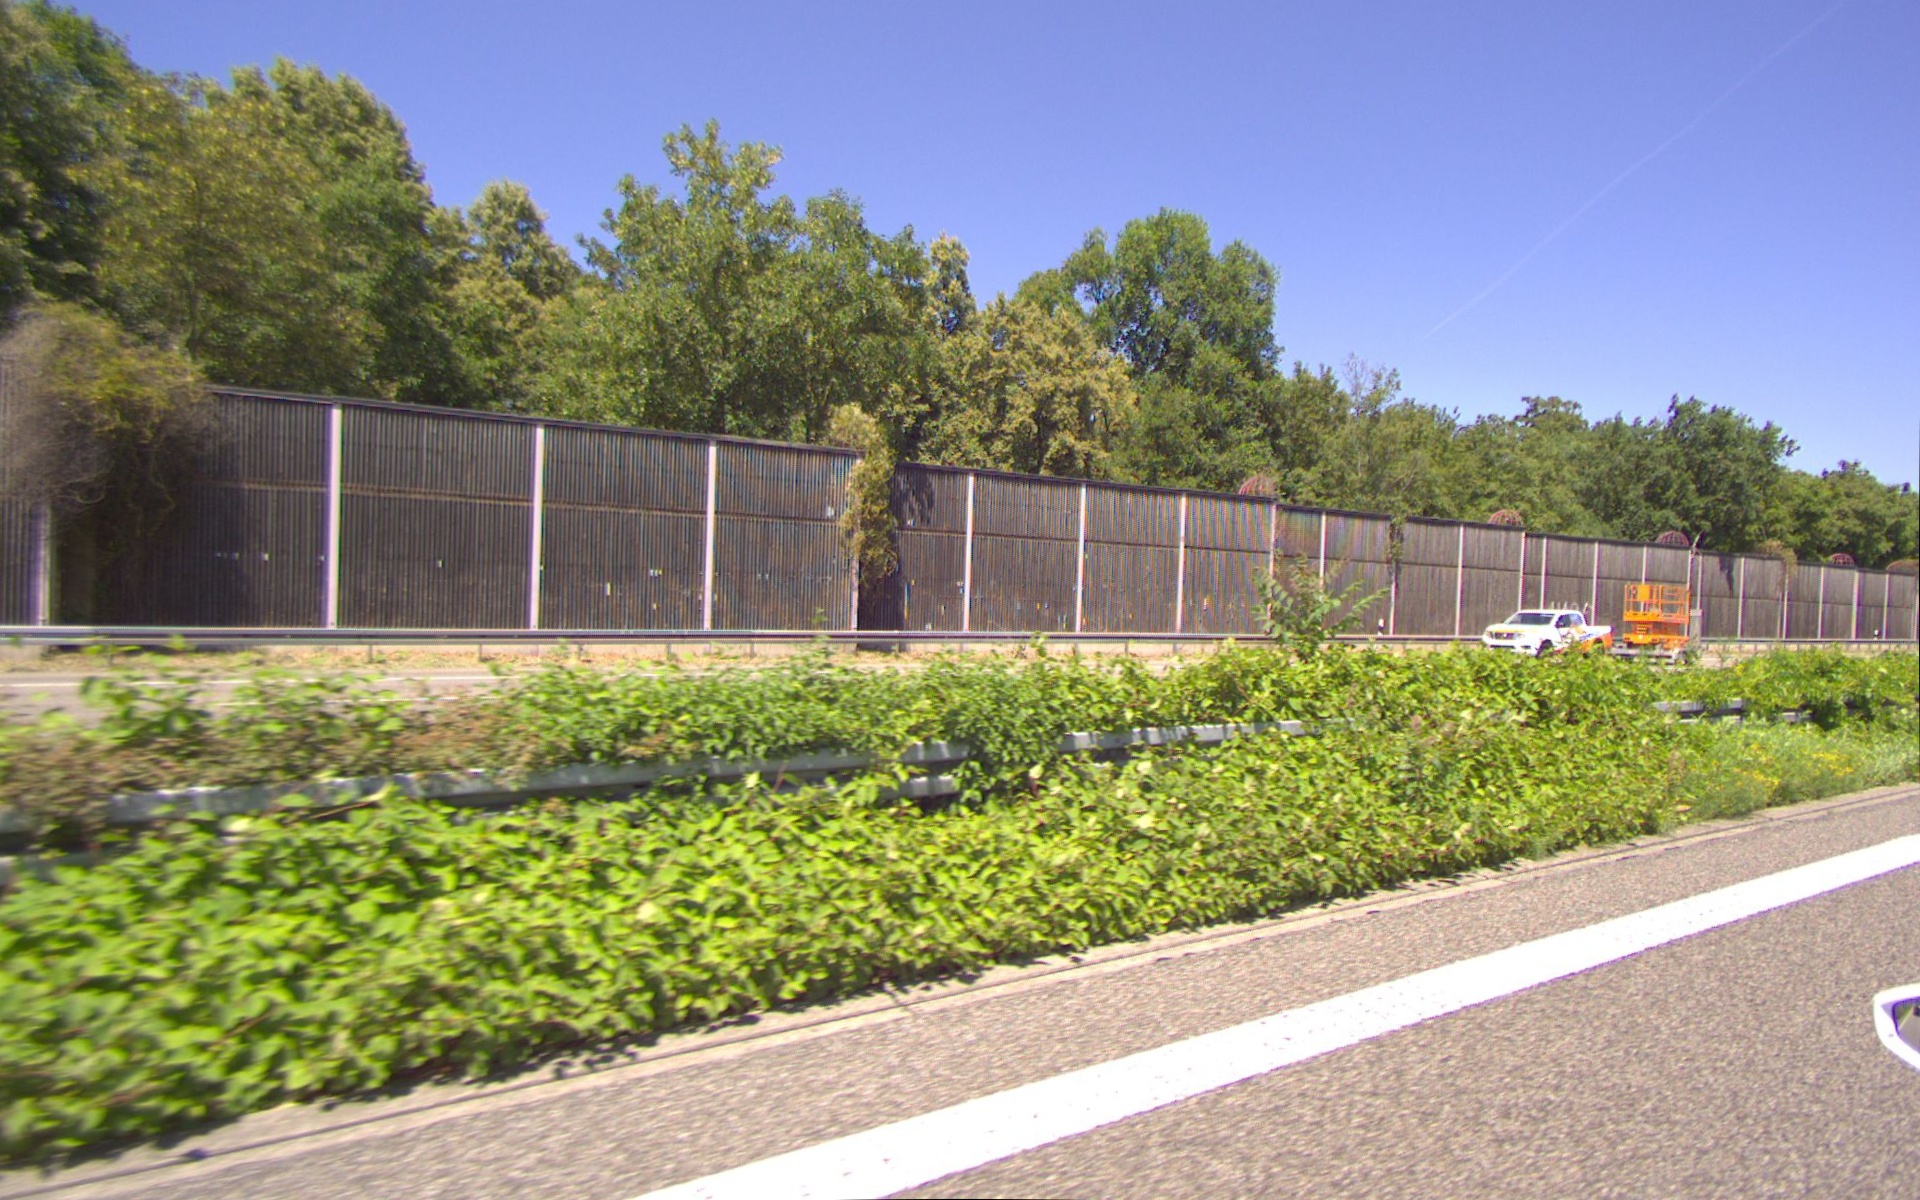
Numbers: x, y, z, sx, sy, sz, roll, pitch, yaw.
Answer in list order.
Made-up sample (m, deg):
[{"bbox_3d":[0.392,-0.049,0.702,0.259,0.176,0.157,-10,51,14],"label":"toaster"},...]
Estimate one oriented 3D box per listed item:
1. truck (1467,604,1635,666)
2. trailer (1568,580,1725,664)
[{"bbox_3d":[19.331,1.139,32.753,6.141,1.840,2.090,2,0,-32],"label":"truck"},{"bbox_3d":[24.713,0.789,36.079,6.436,2.813,2.230,2,0,-32],"label":"trailer"}]
